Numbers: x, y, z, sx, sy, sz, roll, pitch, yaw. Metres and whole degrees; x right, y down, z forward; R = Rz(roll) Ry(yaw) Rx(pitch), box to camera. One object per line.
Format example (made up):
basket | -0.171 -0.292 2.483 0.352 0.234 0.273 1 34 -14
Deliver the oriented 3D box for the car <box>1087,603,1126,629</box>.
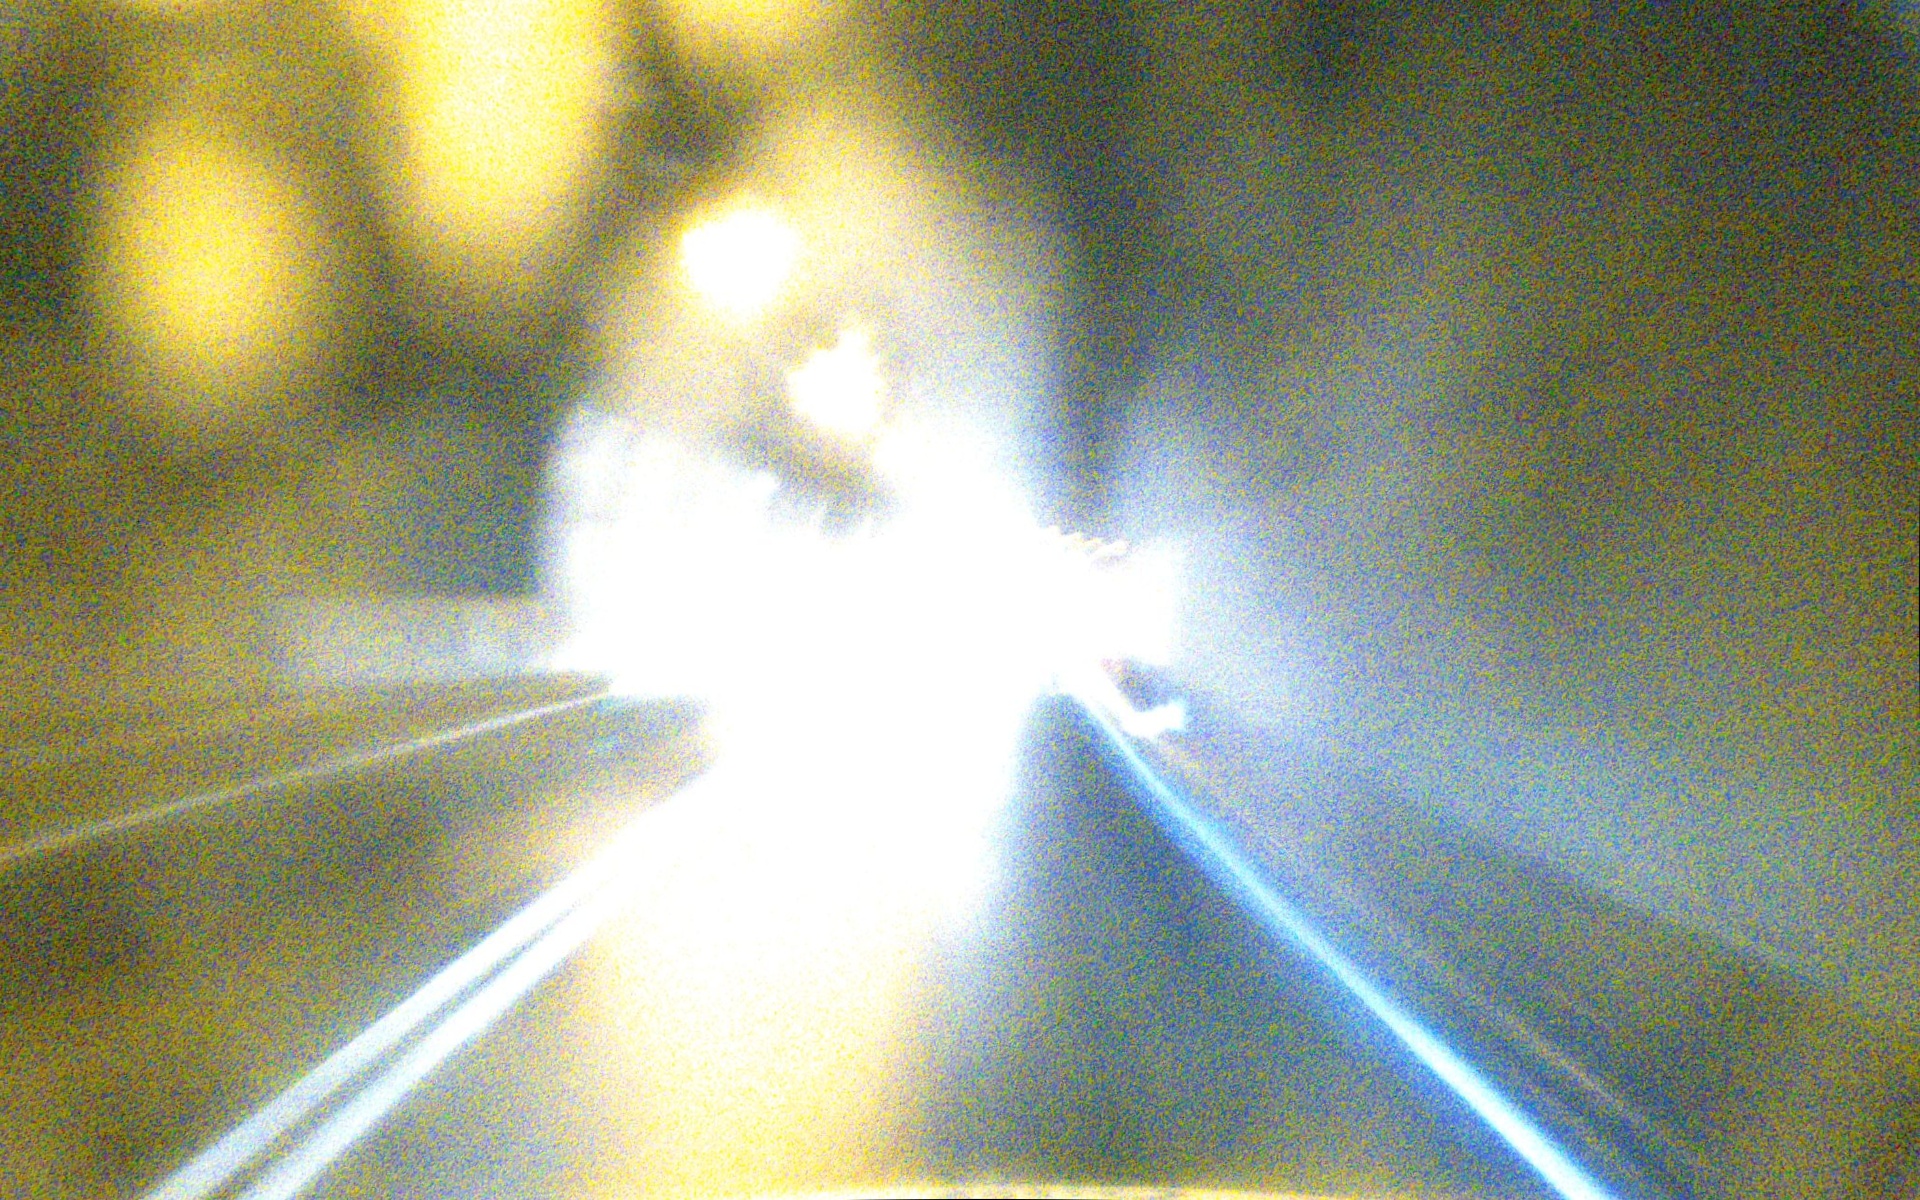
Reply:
car | 9.937 1.070 112.207 1.951 1.679 4.003 1 0 15

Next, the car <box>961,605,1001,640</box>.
car | 0.991 1.008 76.759 1.673 1.536 4.081 1 0 3
